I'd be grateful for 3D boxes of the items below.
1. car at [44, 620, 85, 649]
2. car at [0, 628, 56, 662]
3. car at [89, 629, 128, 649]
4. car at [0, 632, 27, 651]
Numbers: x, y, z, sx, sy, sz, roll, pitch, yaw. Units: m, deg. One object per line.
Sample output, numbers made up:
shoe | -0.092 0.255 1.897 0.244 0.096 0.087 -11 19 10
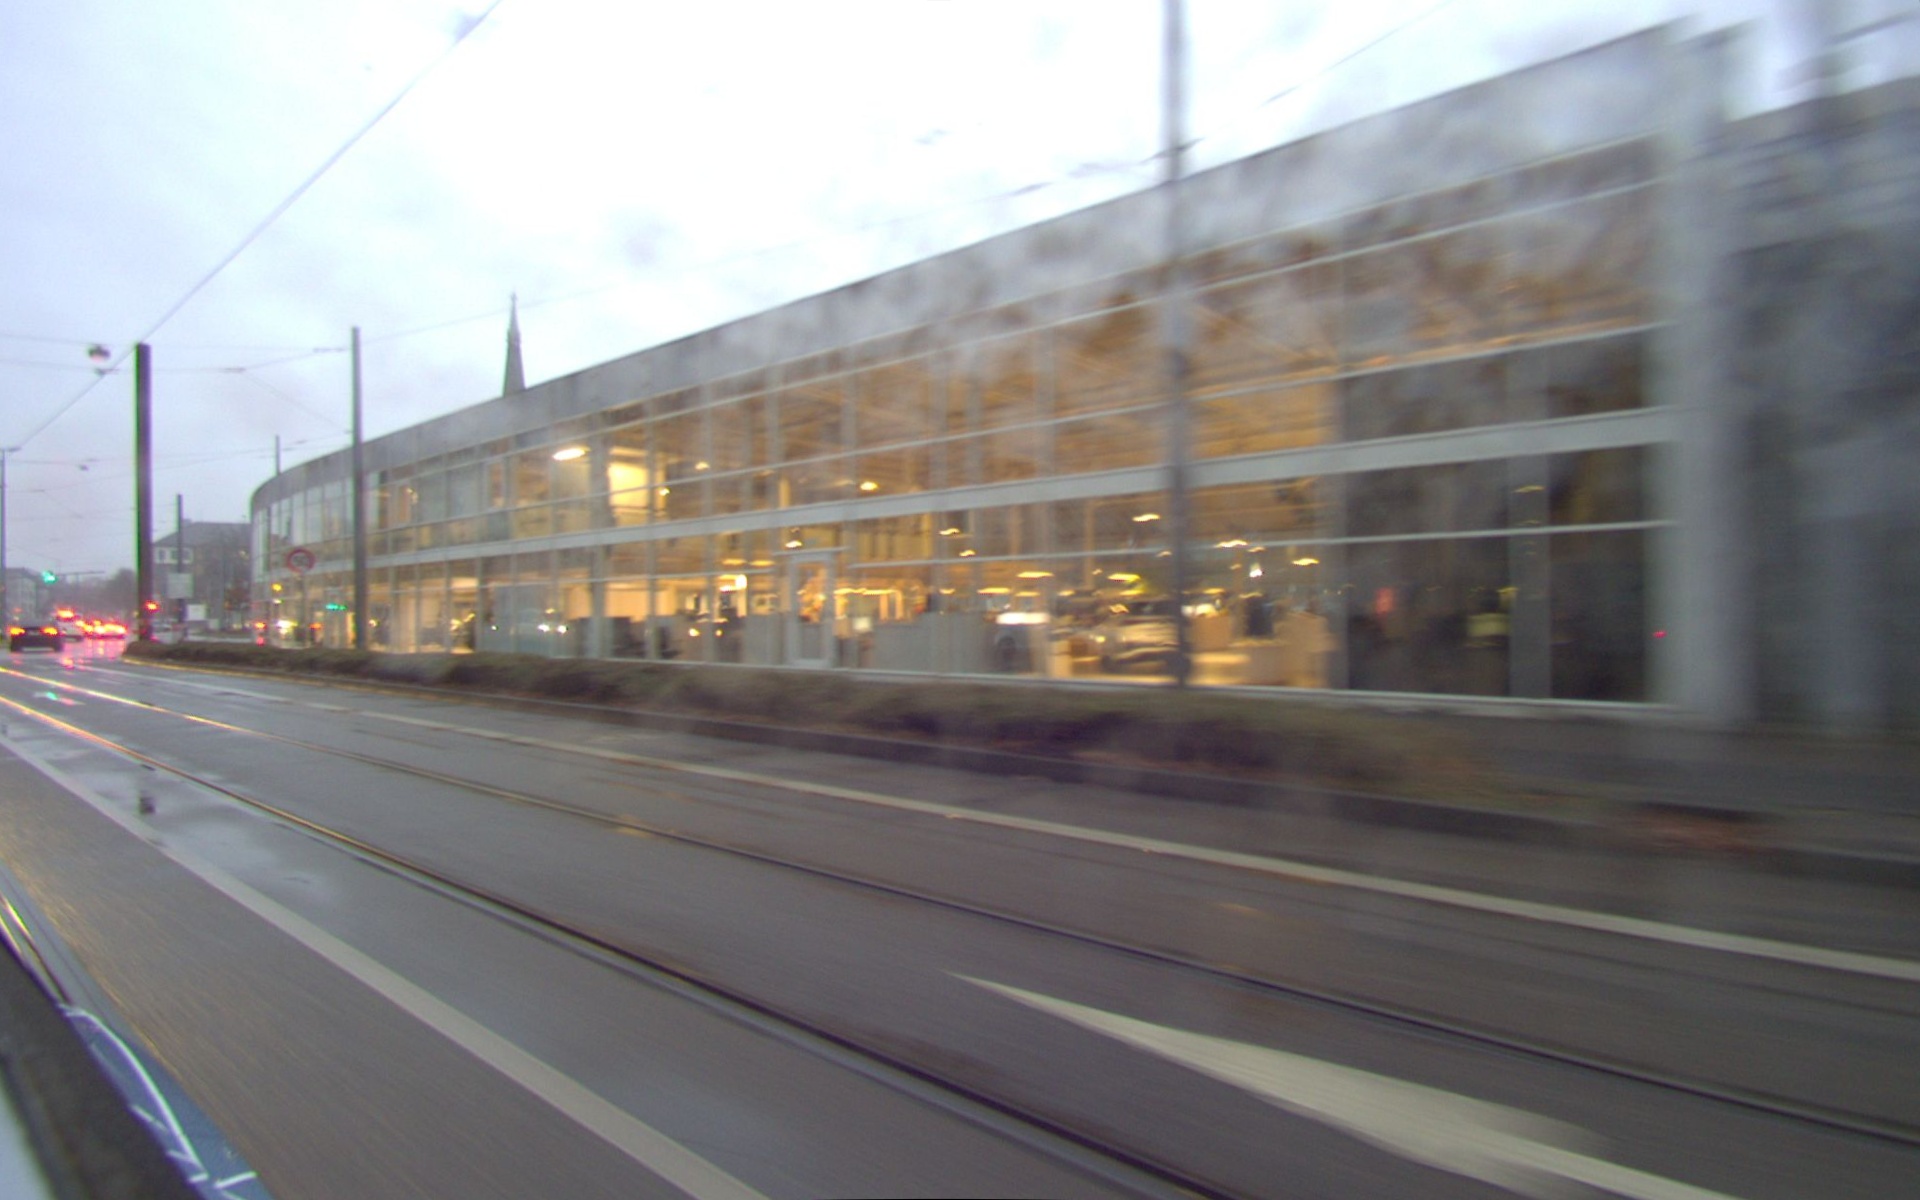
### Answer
car | -65.834 2.501 74.399 4.687 2.029 1.971 -1 0 45
car | -46.381 2.208 50.256 4.442 1.590 1.821 -1 -1 43
car | -68.221 3.112 81.055 4.589 1.432 1.971 -1 -1 44
car | -74.856 3.260 79.622 4.001 1.401 1.850 -1 -3 44
